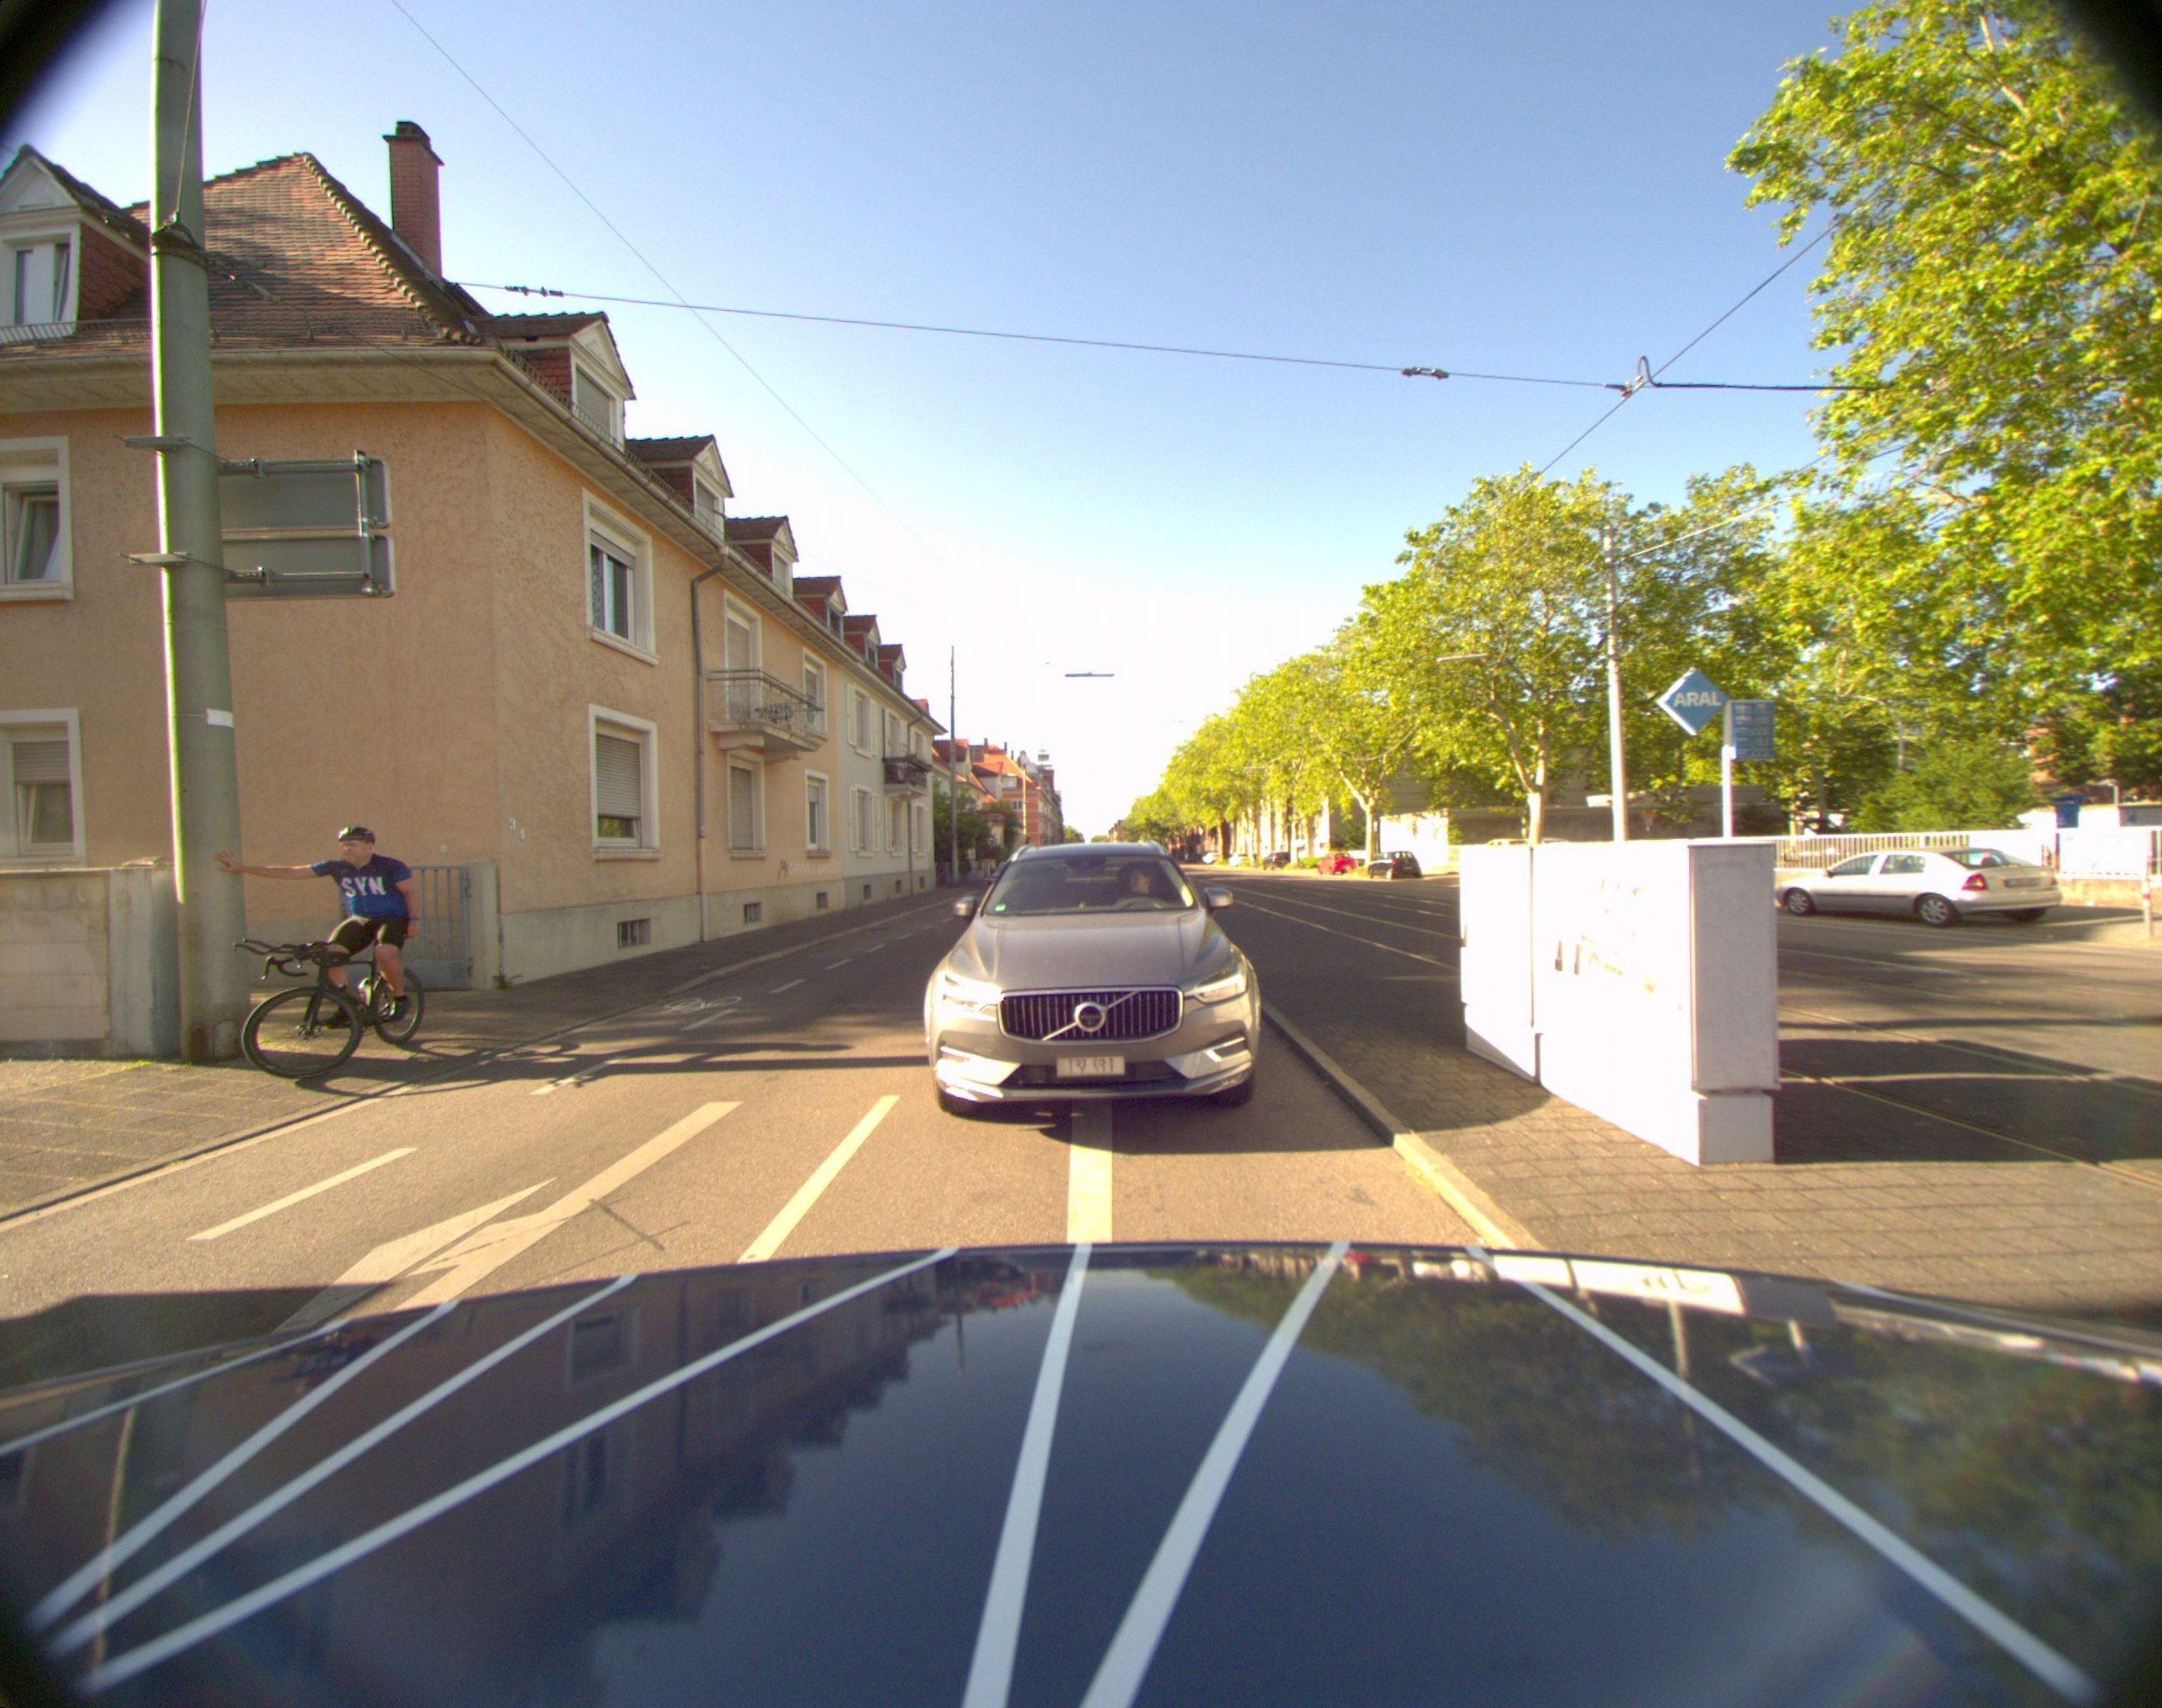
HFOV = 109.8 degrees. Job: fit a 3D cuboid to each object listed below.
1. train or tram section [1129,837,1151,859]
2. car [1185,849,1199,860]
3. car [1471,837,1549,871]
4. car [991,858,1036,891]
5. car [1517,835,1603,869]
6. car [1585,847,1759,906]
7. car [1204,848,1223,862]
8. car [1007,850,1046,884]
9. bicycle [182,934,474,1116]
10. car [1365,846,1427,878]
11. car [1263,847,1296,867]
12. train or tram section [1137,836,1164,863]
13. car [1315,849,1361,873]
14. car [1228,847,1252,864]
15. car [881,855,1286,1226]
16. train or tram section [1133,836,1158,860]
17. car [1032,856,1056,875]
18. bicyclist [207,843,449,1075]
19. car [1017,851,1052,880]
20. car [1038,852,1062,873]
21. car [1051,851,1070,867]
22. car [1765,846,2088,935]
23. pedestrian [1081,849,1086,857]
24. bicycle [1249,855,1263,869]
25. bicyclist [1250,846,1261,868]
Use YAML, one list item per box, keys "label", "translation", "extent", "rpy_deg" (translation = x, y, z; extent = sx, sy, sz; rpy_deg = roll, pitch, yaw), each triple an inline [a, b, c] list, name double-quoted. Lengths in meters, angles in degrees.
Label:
- label: "train or tram section"
  translation: [9.743, -1.042, 125.545]
  extent: [2.843, 3.456, 10.182]
  rpy_deg: [-2, 1, 1]
- label: "car"
  translation: [18.349, 0.002, 125.396]
  extent: [1.845, 1.664, 4.098]
  rpy_deg: [-4, 0, 3]
- label: "car"
  translation: [21.739, -0.023, 38.701]
  extent: [1.845, 1.524, 4.001]
  rpy_deg: [-4, 0, 4]
- label: "car"
  translation: [-3.240, 0.951, 36.960]
  extent: [1.847, 1.412, 3.999]
  rpy_deg: [-1, 0, -1]
- label: "car"
  translation: [24.032, -0.107, 38.324]
  extent: [1.845, 1.524, 4.000]
  rpy_deg: [-4, 0, 2]
- label: "car"
  translation: [16.508, 0.571, 21.536]
  extent: [1.845, 1.400, 4.138]
  rpy_deg: [-4, 0, 4]
- label: "car"
  translation: [17.578, 0.084, 100.893]
  extent: [1.845, 1.664, 4.098]
  rpy_deg: [-4, 0, 3]
- label: "car"
  translation: [-2.977, 0.691, 42.221]
  extent: [1.847, 1.742, 4.144]
  rpy_deg: [-1, 0, 0]
- label: "bicycle"
  translation: [-5.935, 1.279, 6.155]
  extent: [0.594, 1.045, 1.719]
  rpy_deg: [4, 1, 1]
- label: "car"
  translation: [16.956, 0.413, 41.073]
  extent: [1.845, 1.524, 4.001]
  rpy_deg: [-4, 0, 4]
- label: "car"
  translation: [17.155, 0.230, 65.882]
  extent: [1.845, 1.607, 4.098]
  rpy_deg: [-4, 0, 3]
- label: "train or tram section"
  translation: [9.511, -0.681, 105.267]
  extent: [2.862, 3.456, 10.182]
  rpy_deg: [-2, 1, 1]
- label: "car"
  translation: [16.950, 0.451, 50.297]
  extent: [1.845, 1.400, 4.001]
  rpy_deg: [-4, 0, 3]
- label: "car"
  translation: [17.475, 0.124, 83.530]
  extent: [1.845, 1.664, 4.098]
  rpy_deg: [-4, 0, 3]
- label: "car"
  translation: [-0.006, 0.891, 5.772]
  extent: [1.892, 1.695, 4.318]
  rpy_deg: [-1, 0, -1]
- label: "train or tram section"
  translation: [9.662, -0.961, 115.387]
  extent: [2.843, 3.456, 10.181]
  rpy_deg: [-2, 1, 0]
- label: "car"
  translation: [-2.892, 0.866, 60.390]
  extent: [1.808, 1.402, 3.999]
  rpy_deg: [-1, 0, -1]
- label: "bicyclist"
  translation: [-6.179, 0.813, 6.299]
  extent: [1.071, 1.728, 0.853]
  rpy_deg: [4, 1, 1]
- label: "car"
  translation: [-2.803, 0.670, 46.772]
  extent: [1.847, 1.681, 4.000]
  rpy_deg: [-1, 0, 0]
- label: "car"
  translation: [-2.688, 0.701, 65.753]
  extent: [1.847, 1.681, 4.000]
  rpy_deg: [-1, 0, 0]
- label: "car"
  translation: [-2.259, 0.558, 85.468]
  extent: [1.999, 1.641, 4.658]
  rpy_deg: [-1, 0, -1]
- label: "car"
  translation: [16.227, 0.620, 14.963]
  extent: [1.846, 1.400, 3.999]
  rpy_deg: [-4, 0, -1]
- label: "pedestrian"
  translation: [0.568, -0.186, 192.106]
  extent: [1.104, 2.002, 1.242]
  rpy_deg: [-1, 1, 1]
- label: "bicycle"
  translation: [15.403, 0.686, 66.953]
  extent: [0.654, 1.114, 2.533]
  rpy_deg: [-1, 0, 1]
- label: "bicyclist"
  translation: [15.359, 0.265, 66.954]
  extent: [0.720, 1.853, 1.071]
  rpy_deg: [-1, 1, 0]
